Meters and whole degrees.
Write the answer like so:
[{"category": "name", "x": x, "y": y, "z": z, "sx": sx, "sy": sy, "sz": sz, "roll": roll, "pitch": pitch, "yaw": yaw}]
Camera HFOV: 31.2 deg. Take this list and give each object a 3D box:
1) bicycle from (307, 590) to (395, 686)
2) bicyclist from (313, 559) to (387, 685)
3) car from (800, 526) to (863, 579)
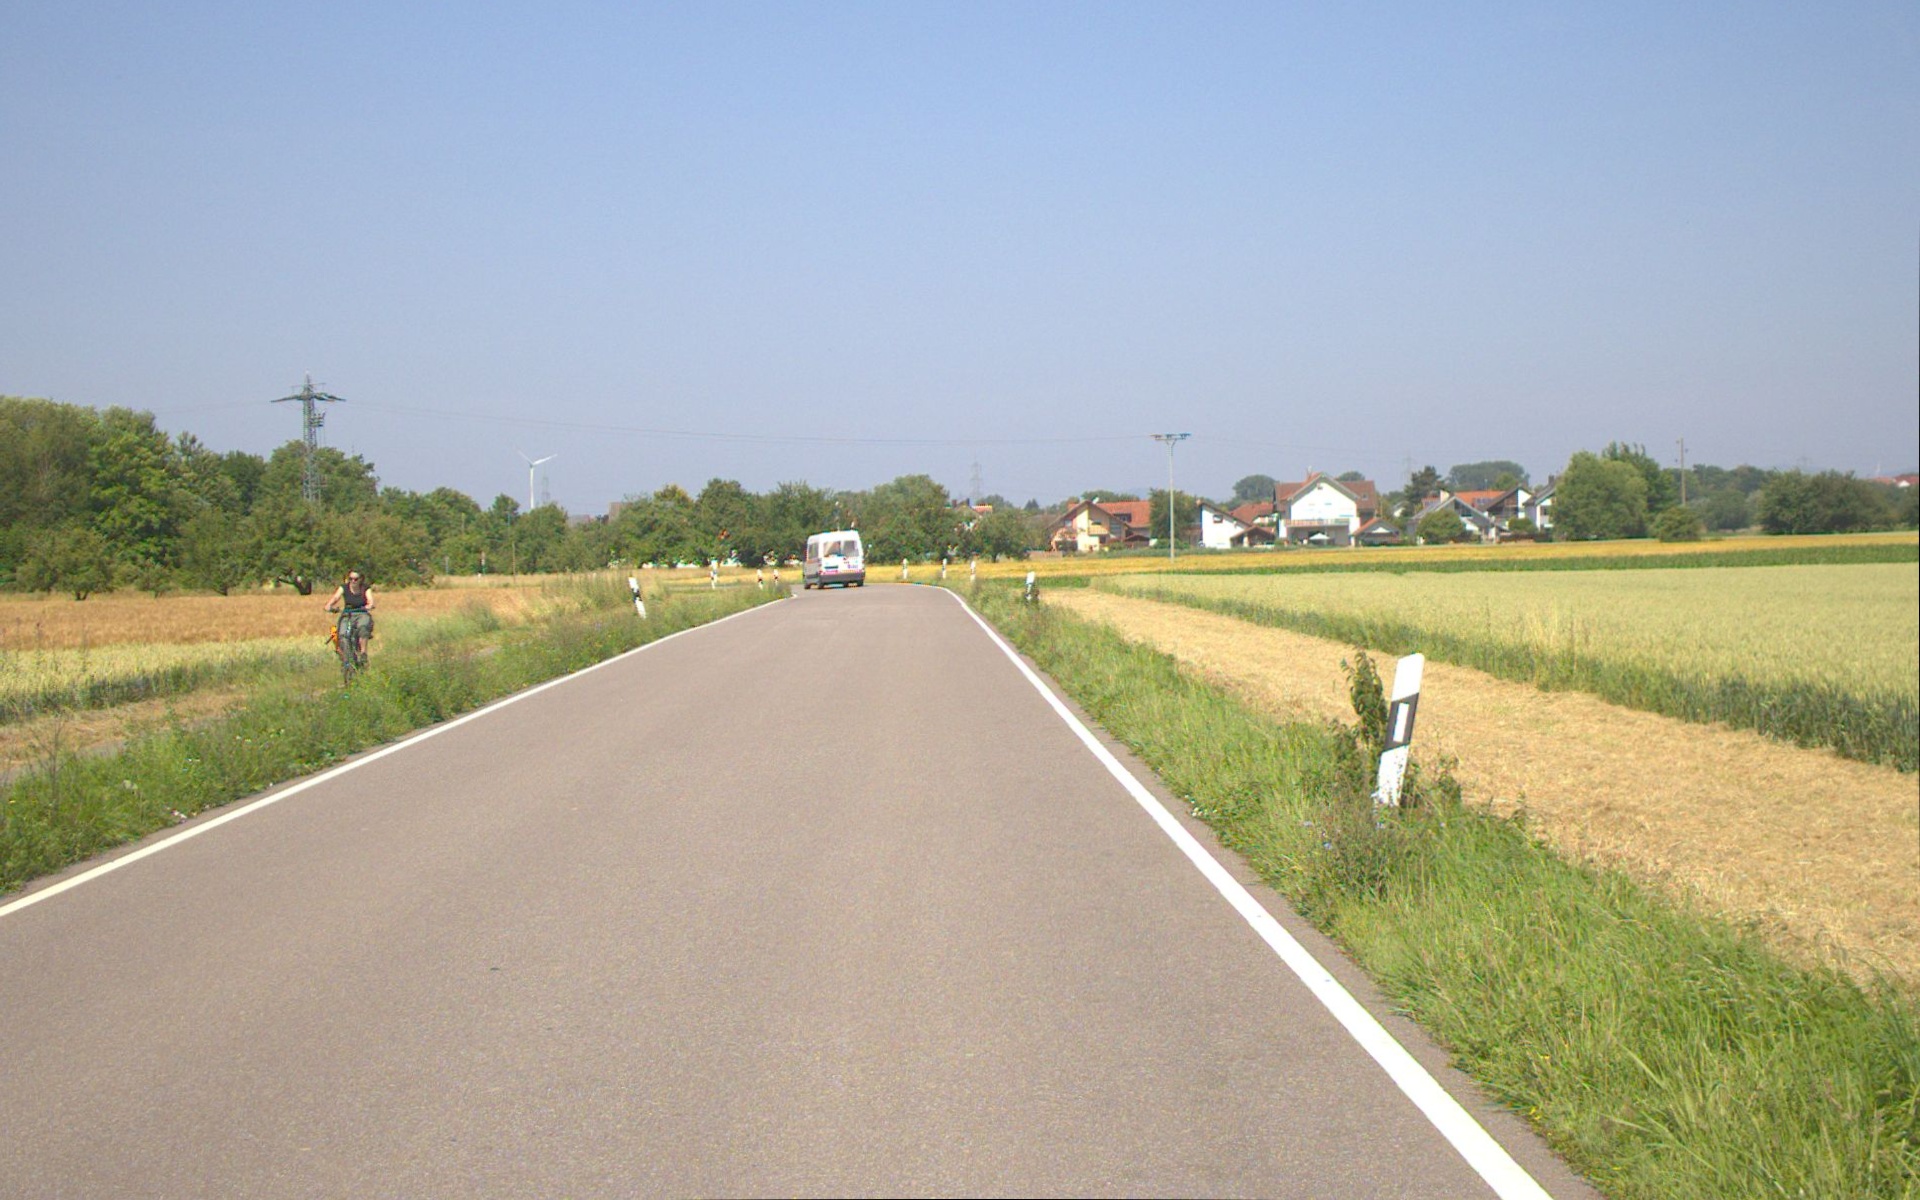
[{"category": "bicycle", "x": -8.349, "y": 0.504, "z": 47.209, "sx": 0.759, "sy": 1.231, "sz": 2.394, "roll": -3, "pitch": 1, "yaw": -1}, {"category": "bicyclist", "x": -8.347, "y": 0.289, "z": 47.106, "sx": 0.760, "sy": 1.667, "sz": 1.088, "roll": -3, "pitch": 1, "yaw": -1}, {"category": "car", "x": -5.712, "y": -2.114, "z": 152.084, "sx": 2.107, "sy": 2.296, "sz": 5.497, "roll": 0, "pitch": 1, "yaw": -9}]
